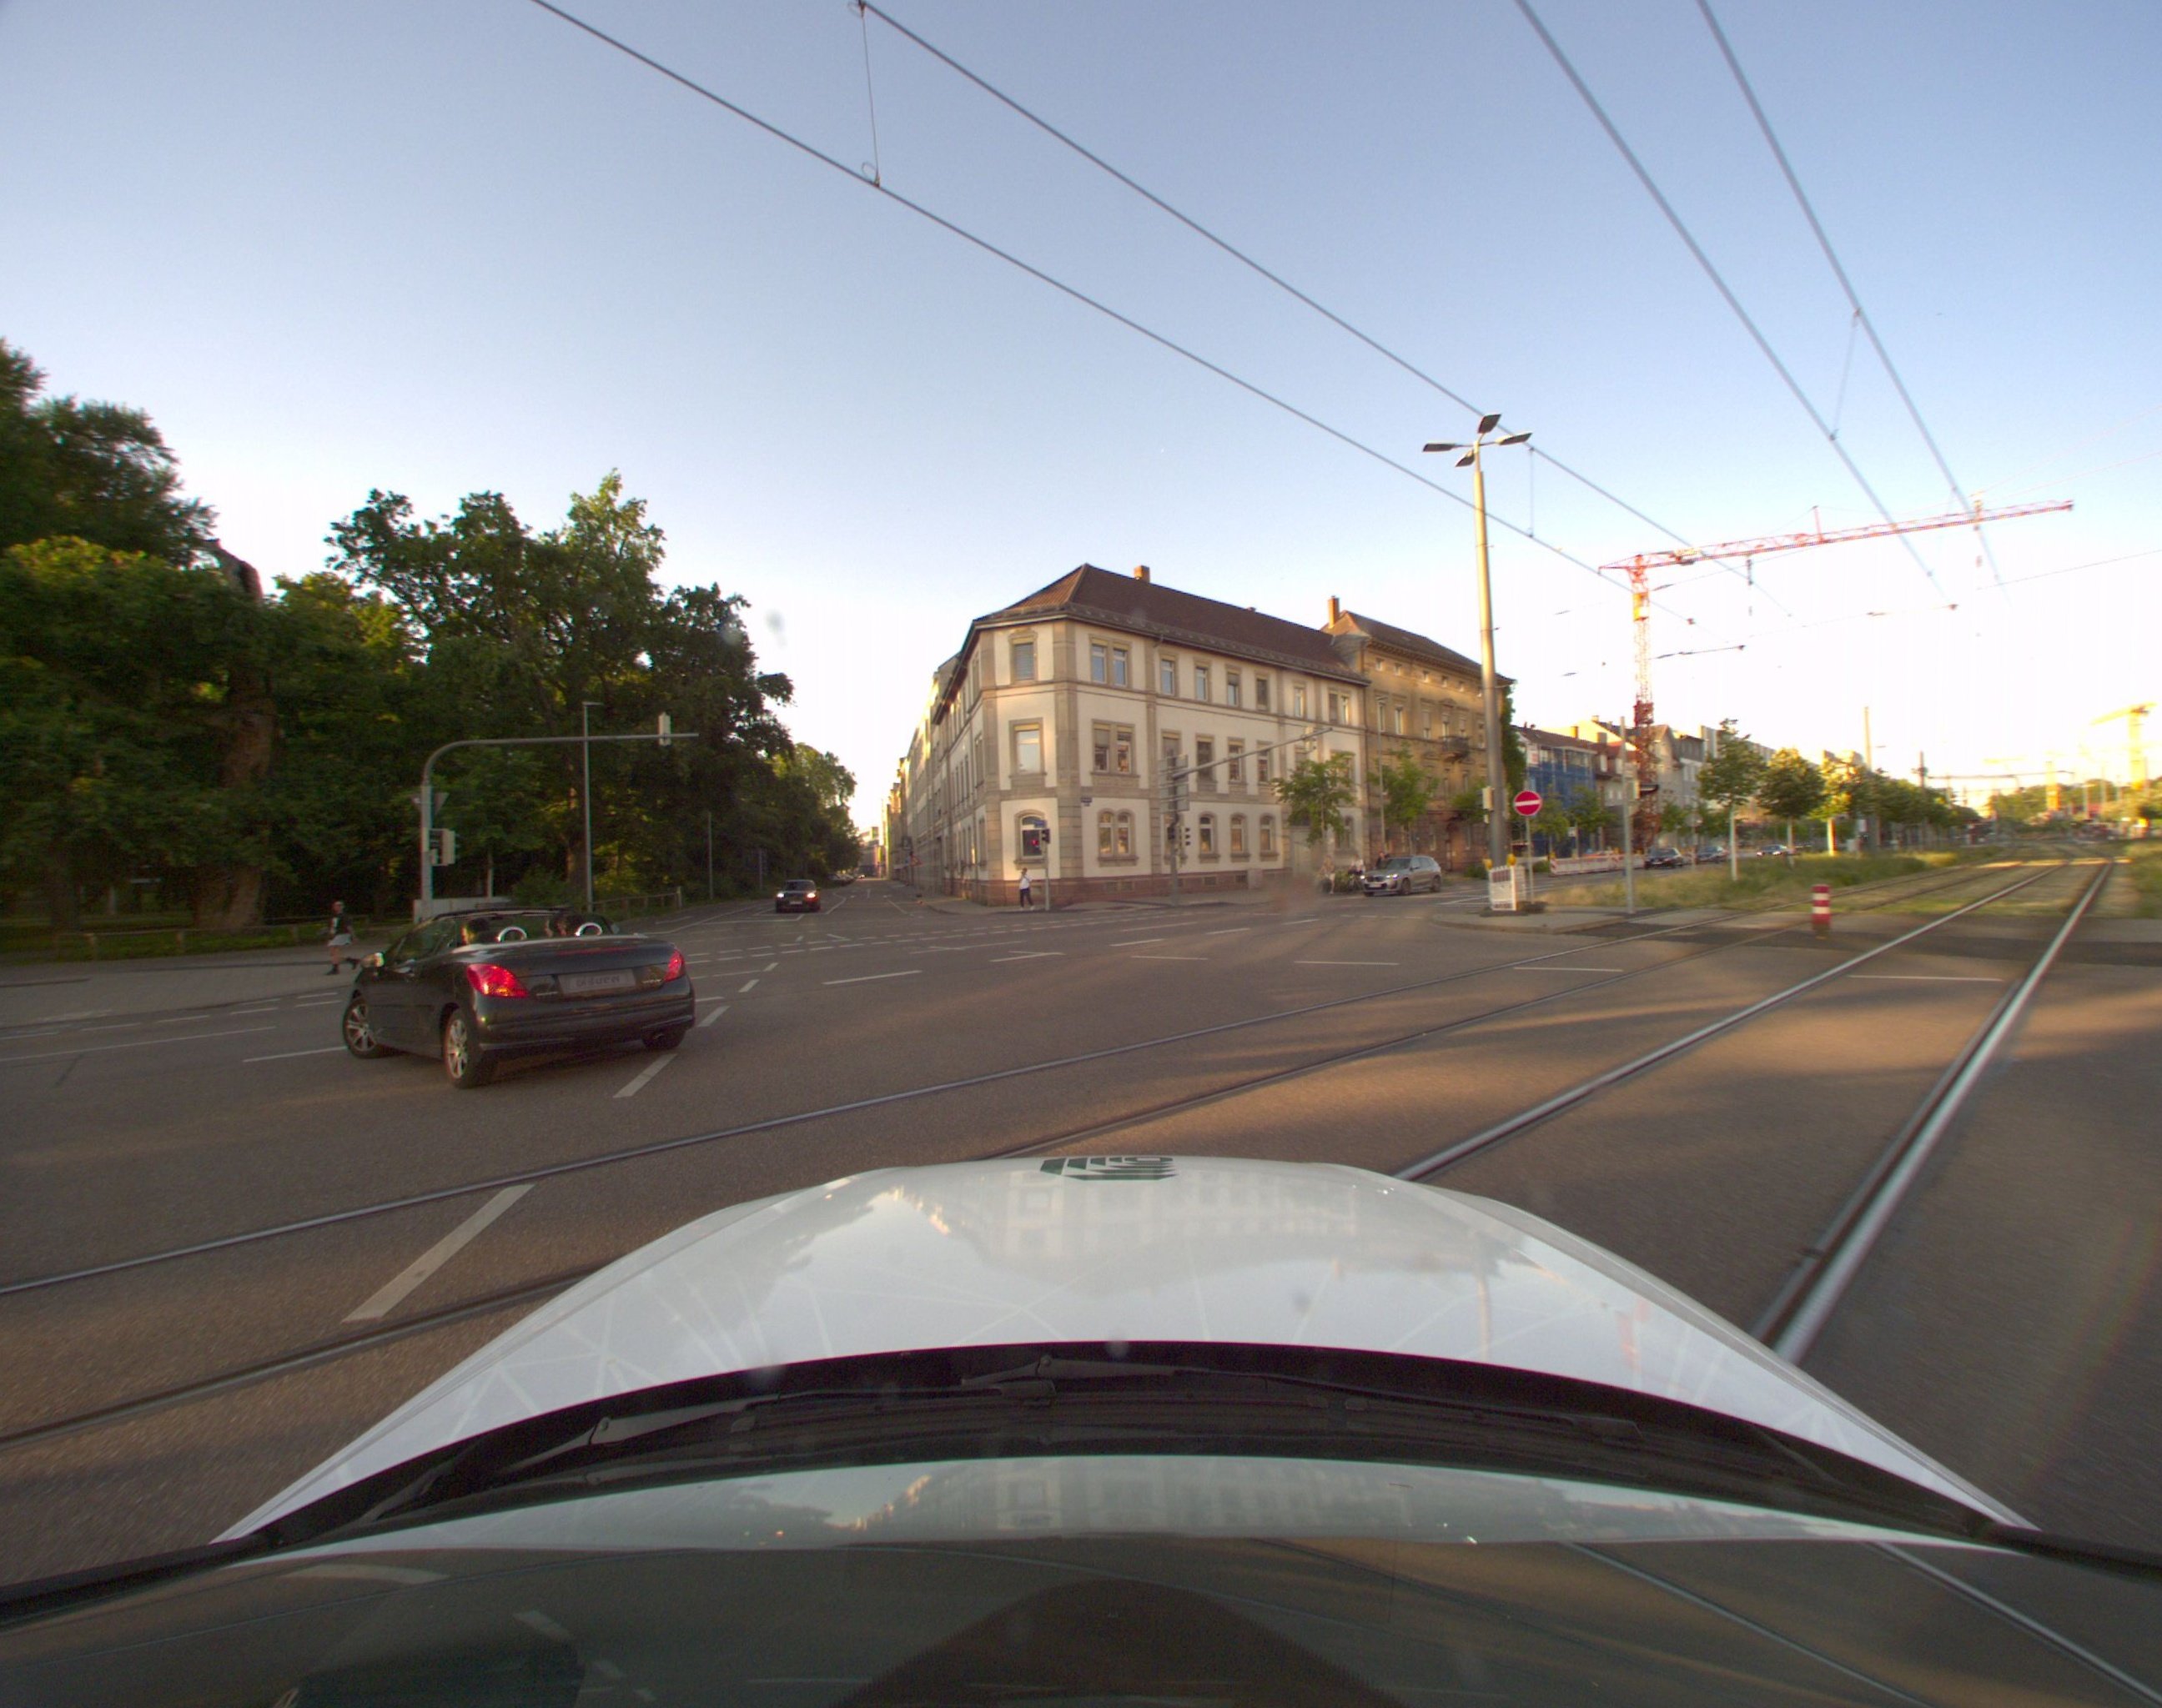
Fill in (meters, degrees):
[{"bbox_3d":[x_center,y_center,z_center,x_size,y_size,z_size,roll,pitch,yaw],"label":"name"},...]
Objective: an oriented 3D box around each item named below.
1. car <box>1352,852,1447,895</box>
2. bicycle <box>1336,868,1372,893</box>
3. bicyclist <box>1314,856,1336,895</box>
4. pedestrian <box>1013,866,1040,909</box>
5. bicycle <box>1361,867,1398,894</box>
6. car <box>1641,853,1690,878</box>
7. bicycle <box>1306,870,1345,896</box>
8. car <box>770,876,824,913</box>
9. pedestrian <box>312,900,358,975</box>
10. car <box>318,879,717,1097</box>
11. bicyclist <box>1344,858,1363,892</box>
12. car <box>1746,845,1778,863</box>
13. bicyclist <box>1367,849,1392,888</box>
[{"bbox_3d":[13.392,0.781,34.144,4.282,1.597,1.813,-1,-2,-40],"label":"car"},{"bbox_3d":[12.645,1.229,37.748,2.054,1.051,0.512,-2,0,-38],"label":"bicycle"},{"bbox_3d":[10.867,0.959,36.208,0.771,1.701,0.504,-2,-1,-36],"label":"bicyclist"},{"bbox_3d":[-2.157,1.315,32.212,0.808,1.656,0.641,-3,-1,30],"label":"pedestrian"},{"bbox_3d":[13.535,1.198,36.907,0.712,1.051,2.056,-7,-3,44],"label":"bicycle"},{"bbox_3d":[40.797,0.775,56.790,4.282,1.597,1.683,-1,-2,-40],"label":"car"},{"bbox_3d":[10.887,1.289,36.206,2.057,1.051,0.523,-1,-2,-36],"label":"bicycle"},{"bbox_3d":[-12.797,1.784,36.899,1.825,1.517,3.561,-2,-1,-12],"label":"car"},{"bbox_3d":[-15.605,1.728,17.050,0.621,1.504,0.574,-1,-1,-35],"label":"pedestrian"},{"bbox_3d":[-5.285,1.031,7.500,3.850,1.449,1.735,-3,-1,35],"label":"car"},{"bbox_3d":[12.621,0.957,37.728,0.695,1.548,0.506,-1,0,-38],"label":"bicyclist"},{"bbox_3d":[66.898,-0.004,79.990,3.909,1.597,1.683,-1,-2,-40],"label":"car"},{"bbox_3d":[13.562,0.674,36.990,0.697,1.701,0.773,-7,-3,43],"label":"bicyclist"}]
